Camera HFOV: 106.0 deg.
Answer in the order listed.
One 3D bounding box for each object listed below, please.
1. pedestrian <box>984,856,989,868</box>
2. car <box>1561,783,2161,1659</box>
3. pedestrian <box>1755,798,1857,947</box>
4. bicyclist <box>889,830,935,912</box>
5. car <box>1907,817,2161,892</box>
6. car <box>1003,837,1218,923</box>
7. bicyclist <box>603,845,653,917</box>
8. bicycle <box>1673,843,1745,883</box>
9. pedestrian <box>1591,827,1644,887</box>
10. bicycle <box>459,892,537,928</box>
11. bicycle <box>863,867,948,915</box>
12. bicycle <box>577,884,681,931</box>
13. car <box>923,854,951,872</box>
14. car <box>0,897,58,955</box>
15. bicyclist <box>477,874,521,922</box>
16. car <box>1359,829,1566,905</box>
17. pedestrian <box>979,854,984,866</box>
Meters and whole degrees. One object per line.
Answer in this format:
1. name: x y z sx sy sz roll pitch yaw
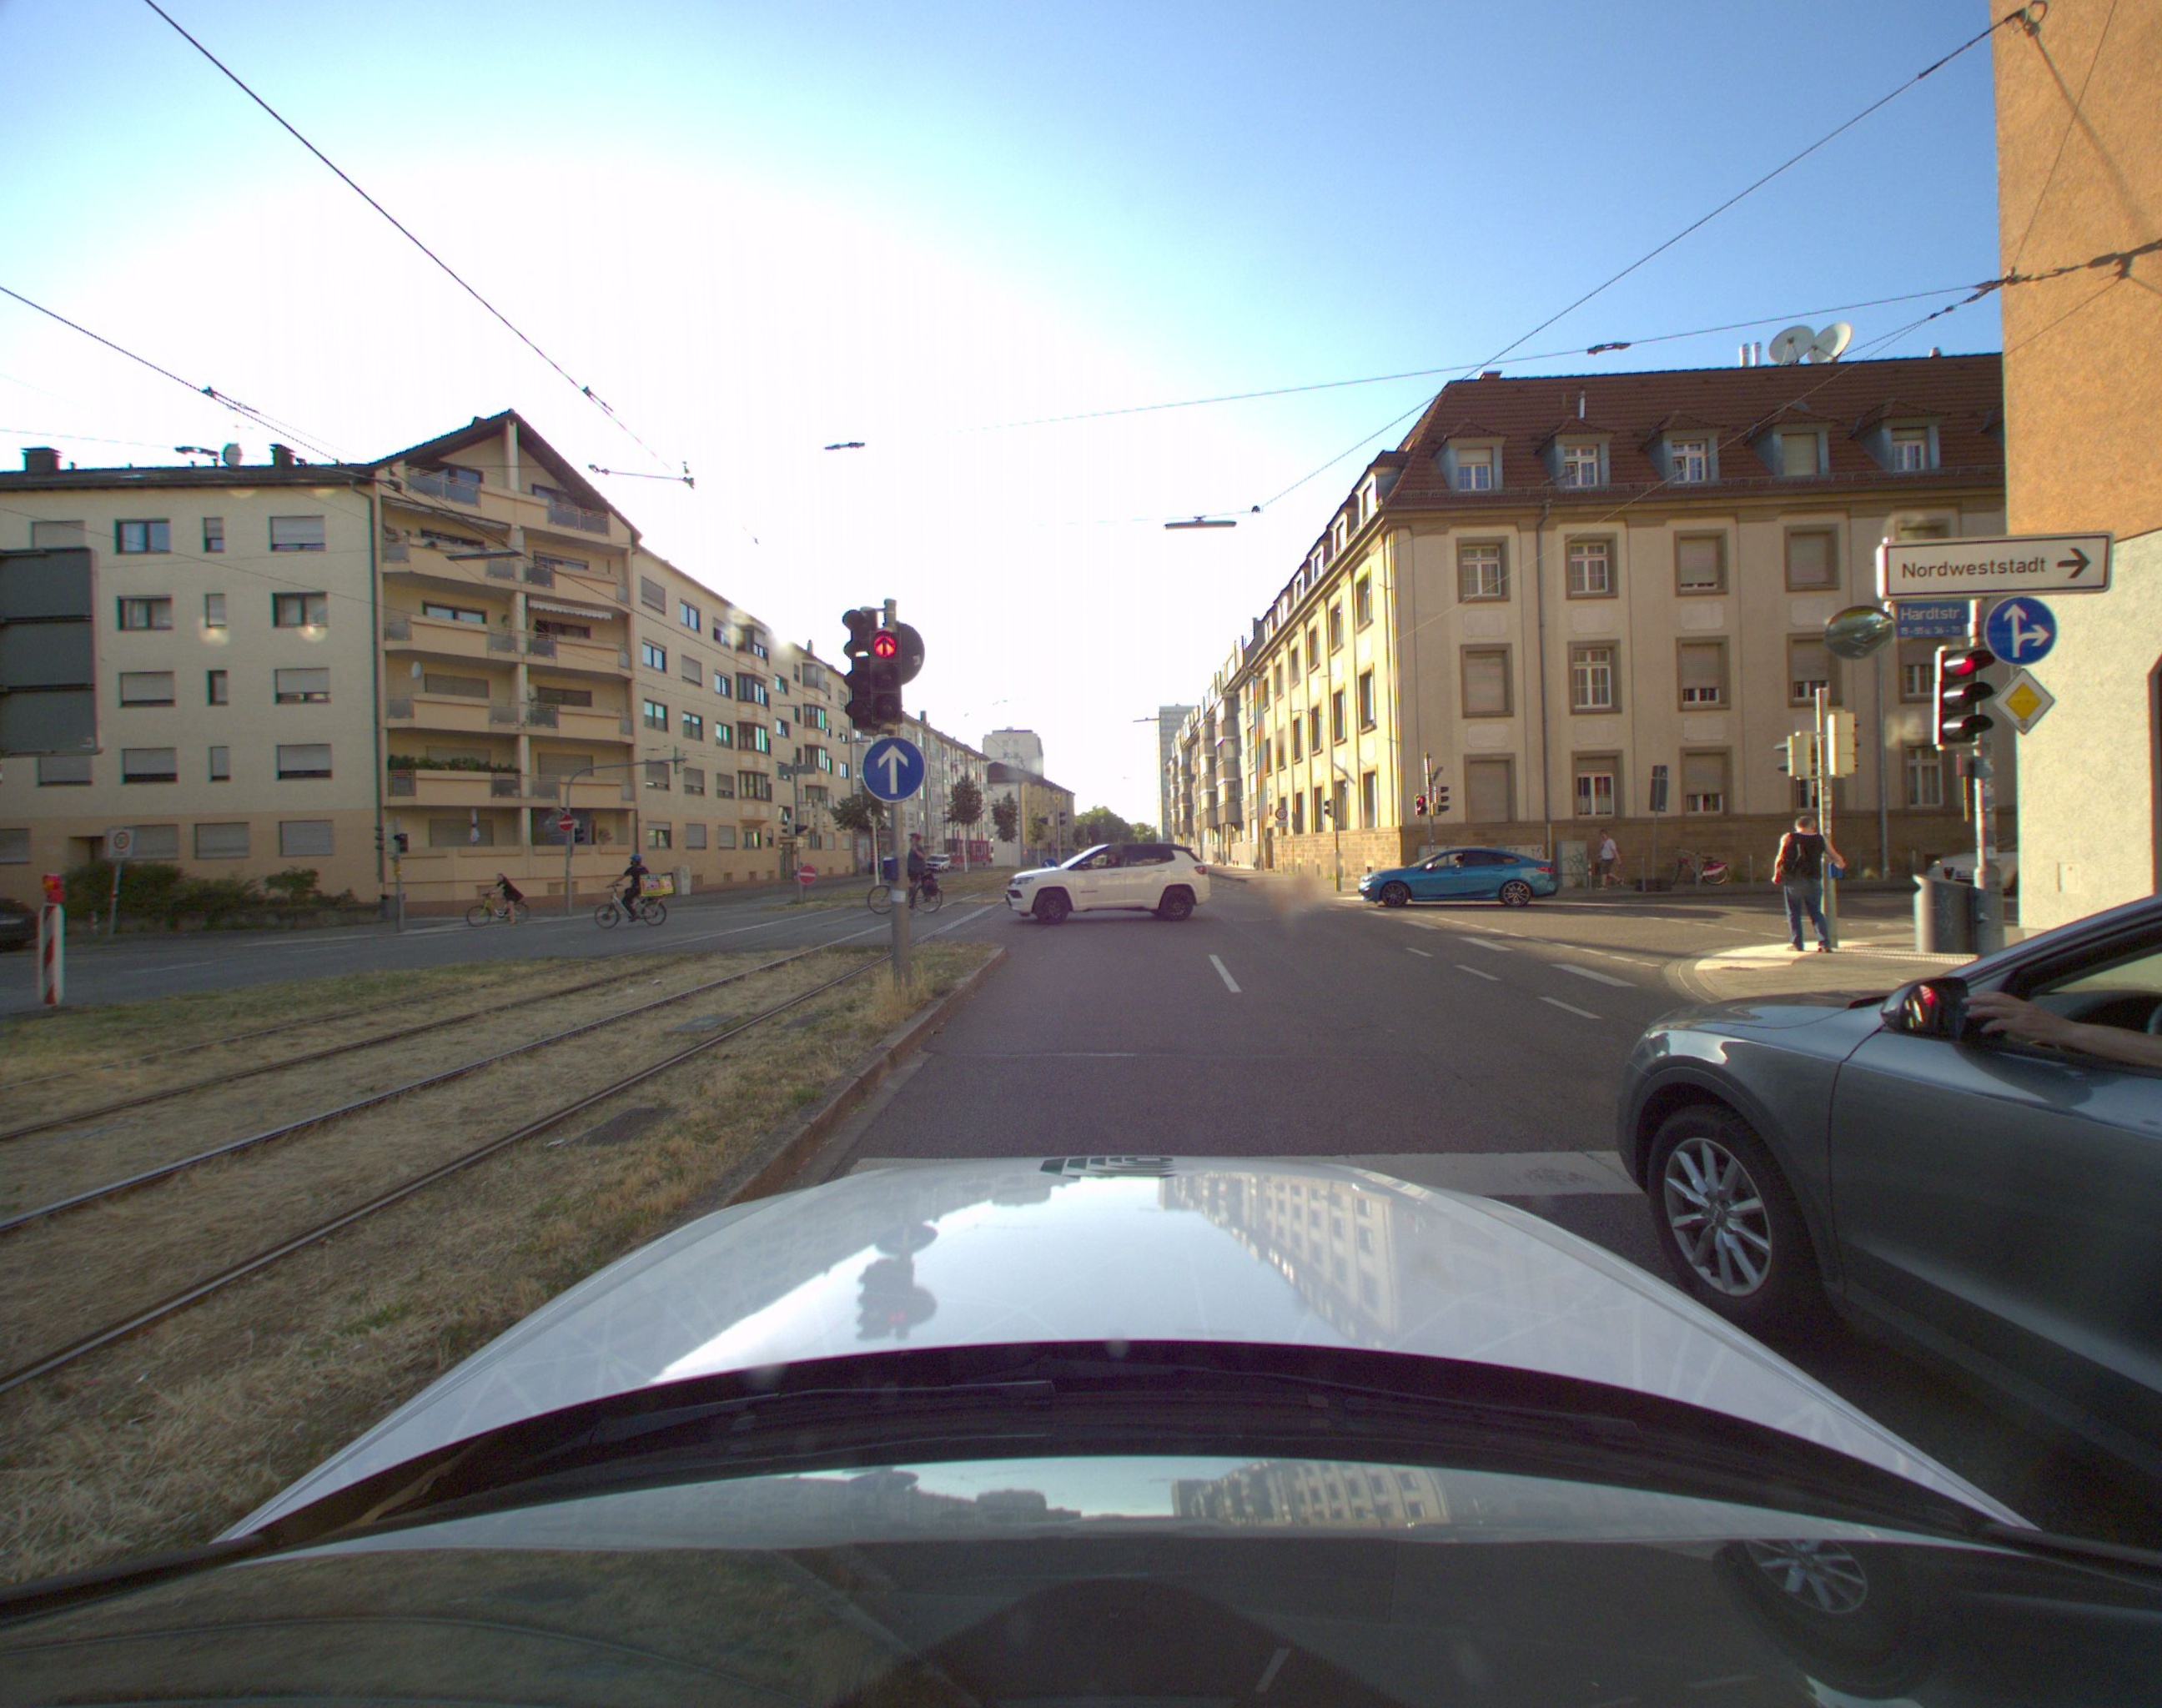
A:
1. pedestrian: -12.956 1.121 111.889 0.493 1.658 0.409 -2 0 2
2. car: 2.793 0.630 1.251 1.763 1.575 4.087 -2 0 2
3. pedestrian: 9.440 0.240 10.629 0.690 1.875 0.718 0 -1 1
4. bicyclist: -4.236 0.408 20.459 0.957 1.988 0.672 -2 0 -1
5. car: 22.538 0.022 19.093 4.252 1.661 2.001 0 -1 2
6. car: 0.551 0.526 17.789 4.415 1.641 1.995 -1 0 -8
7. bicyclist: -11.163 0.651 20.088 0.791 1.753 0.720 0 -1 0
8. bicycle: 18.427 0.262 23.916 1.556 1.117 0.669 -2 0 2
9. pedestrian: 15.442 0.087 23.440 1.033 1.682 0.669 -2 0 1
10. bicycle: -18.139 1.727 25.367 0.522 0.984 1.895 -2 0 32
11. bicycle: -4.383 0.920 20.410 1.938 1.094 0.575 -2 0 -1
12. bicycle: -11.137 1.304 20.093 2.067 0.958 0.746 -4 0 -1
13. car: -14.414 0.922 81.902 1.804 1.798 4.248 0 -1 3
14. car: -30.170 1.986 21.342 3.956 1.440 1.785 -2 0 -9
15. bicyclist: -18.158 1.359 25.418 0.522 1.447 0.971 -2 0 32
16. car: 9.259 0.309 20.146 4.422 1.729 2.010 0 -1 20
17. pedestrian: -13.668 0.831 111.862 0.493 1.658 0.409 -2 0 2
